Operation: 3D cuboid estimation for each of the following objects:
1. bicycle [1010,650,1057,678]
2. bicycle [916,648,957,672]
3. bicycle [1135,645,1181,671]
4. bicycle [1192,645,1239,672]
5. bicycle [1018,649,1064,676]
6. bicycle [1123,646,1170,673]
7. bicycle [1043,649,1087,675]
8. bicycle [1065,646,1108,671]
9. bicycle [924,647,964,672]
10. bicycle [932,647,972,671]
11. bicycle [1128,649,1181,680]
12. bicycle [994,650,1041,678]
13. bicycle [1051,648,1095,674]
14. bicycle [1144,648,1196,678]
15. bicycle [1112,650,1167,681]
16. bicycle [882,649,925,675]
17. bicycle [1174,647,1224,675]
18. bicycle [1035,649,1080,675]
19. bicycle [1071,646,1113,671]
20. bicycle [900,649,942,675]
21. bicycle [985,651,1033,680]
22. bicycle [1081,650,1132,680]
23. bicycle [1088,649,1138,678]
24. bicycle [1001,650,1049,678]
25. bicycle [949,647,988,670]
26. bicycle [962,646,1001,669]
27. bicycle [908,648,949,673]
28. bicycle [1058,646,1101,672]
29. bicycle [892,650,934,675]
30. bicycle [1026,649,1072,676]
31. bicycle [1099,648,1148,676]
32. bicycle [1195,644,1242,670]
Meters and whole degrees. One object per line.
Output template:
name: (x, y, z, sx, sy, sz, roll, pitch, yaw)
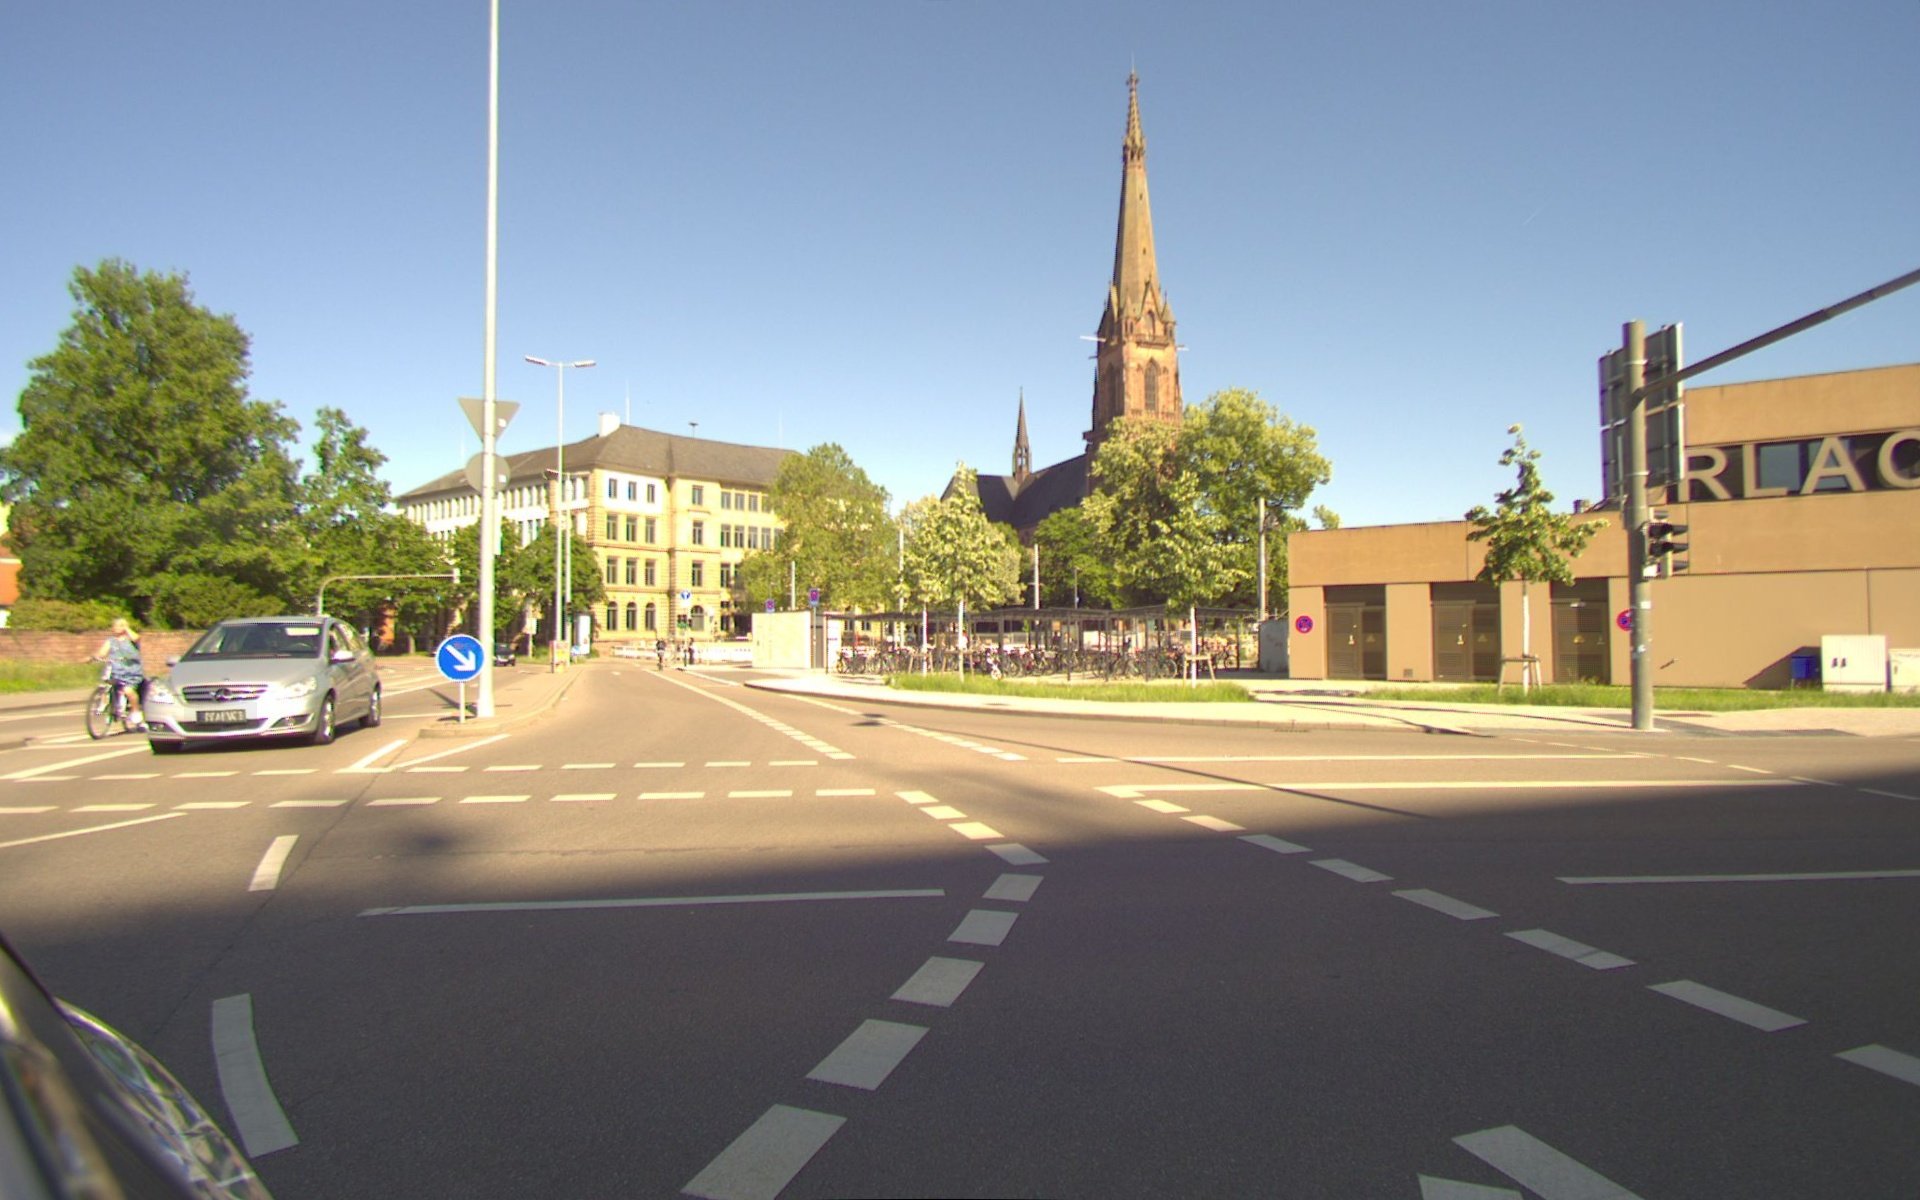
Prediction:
bicycle: (2.867, 2.492, 39.723, 1.782, 1.046, 0.561, -1, -3, 33)
bicycle: (-1.048, 2.619, 44.368, 1.782, 1.046, 0.561, -1, -3, 33)
bicycle: (8.207, 2.389, 42.009, 1.782, 1.046, 0.561, -1, -3, 33)
bicycle: (10.243, 2.322, 40.601, 1.782, 1.046, 0.561, -1, -3, 33)
bicycle: (3.202, 2.468, 40.259, 1.782, 1.046, 0.561, -1, -3, 33)
bicycle: (7.515, 2.381, 40.792, 1.782, 1.046, 0.561, -1, -3, 33)
bicycle: (4.357, 2.560, 42.009, 1.782, 1.046, 0.561, -1, -3, 33)
bicycle: (5.435, 2.531, 43.677, 1.782, 1.046, 0.561, -1, -3, 33)
bicycle: (-0.715, 2.640, 44.905, 1.782, 1.046, 0.561, -1, -3, 33)
bicycle: (-0.370, 2.637, 45.393, 1.782, 1.046, 0.561, -1, -3, 33)
bicycle: (6.815, 2.244, 35.496, 1.782, 1.046, 0.561, -1, -3, 33)
bicycle: (2.186, 2.422, 38.579, 1.782, 1.046, 0.561, -1, -3, 33)
bicycle: (4.757, 2.562, 42.652, 1.782, 1.046, 0.561, -1, -3, 33)
bicycle: (7.560, 2.264, 36.401, 1.787, 1.046, 0.560, -2, -4, 41)
bicycle: (6.165, 2.247, 34.801, 1.782, 1.046, 0.561, -1, -3, 33)
bicycle: (-2.362, 2.592, 42.352, 1.782, 1.046, 0.561, -1, -3, 33)
bicycle: (9.104, 2.323, 38.644, 1.782, 1.046, 0.561, -1, -3, 33)
bicycle: (3.967, 2.522, 41.415, 1.782, 1.046, 0.561, -1, -3, 33)
bicycle: (5.769, 2.542, 44.212, 1.782, 1.046, 0.561, -1, -3, 33)
bicycle: (-1.679, 2.650, 43.339, 1.782, 1.046, 0.561, -1, -3, 33)
bicycle: (1.828, 2.454, 38.025, 1.782, 1.046, 0.561, -1, -3, 33)
bicycle: (5.334, 2.350, 36.845, 1.782, 1.046, 0.561, -1, -3, 33)
bicycle: (5.746, 2.374, 38.080, 1.782, 1.046, 0.561, -1, -3, 33)
bicycle: (2.499, 2.469, 39.086, 1.782, 1.046, 0.561, -1, -3, 33)
bicycle: (0.375, 2.685, 46.479, 1.782, 1.046, 0.561, -1, -3, 33)
bicycle: (0.997, 2.677, 47.560, 1.782, 1.046, 0.561, -1, -3, 33)
bicycle: (-1.366, 2.628, 43.863, 1.782, 1.046, 0.561, -1, -3, 33)
bicycle: (5.091, 2.509, 43.151, 1.782, 1.046, 0.561, -1, -3, 33)
bicycle: (-2.012, 2.635, 42.846, 1.782, 1.046, 0.561, -1, -3, 33)
bicycle: (3.586, 2.506, 40.822, 1.782, 1.046, 0.561, -1, -3, 33)
bicycle: (6.292, 2.371, 38.905, 1.782, 1.046, 0.561, -1, -3, 33)
bicycle: (10.540, 2.326, 41.246, 1.782, 1.046, 0.561, -1, -3, 33)
